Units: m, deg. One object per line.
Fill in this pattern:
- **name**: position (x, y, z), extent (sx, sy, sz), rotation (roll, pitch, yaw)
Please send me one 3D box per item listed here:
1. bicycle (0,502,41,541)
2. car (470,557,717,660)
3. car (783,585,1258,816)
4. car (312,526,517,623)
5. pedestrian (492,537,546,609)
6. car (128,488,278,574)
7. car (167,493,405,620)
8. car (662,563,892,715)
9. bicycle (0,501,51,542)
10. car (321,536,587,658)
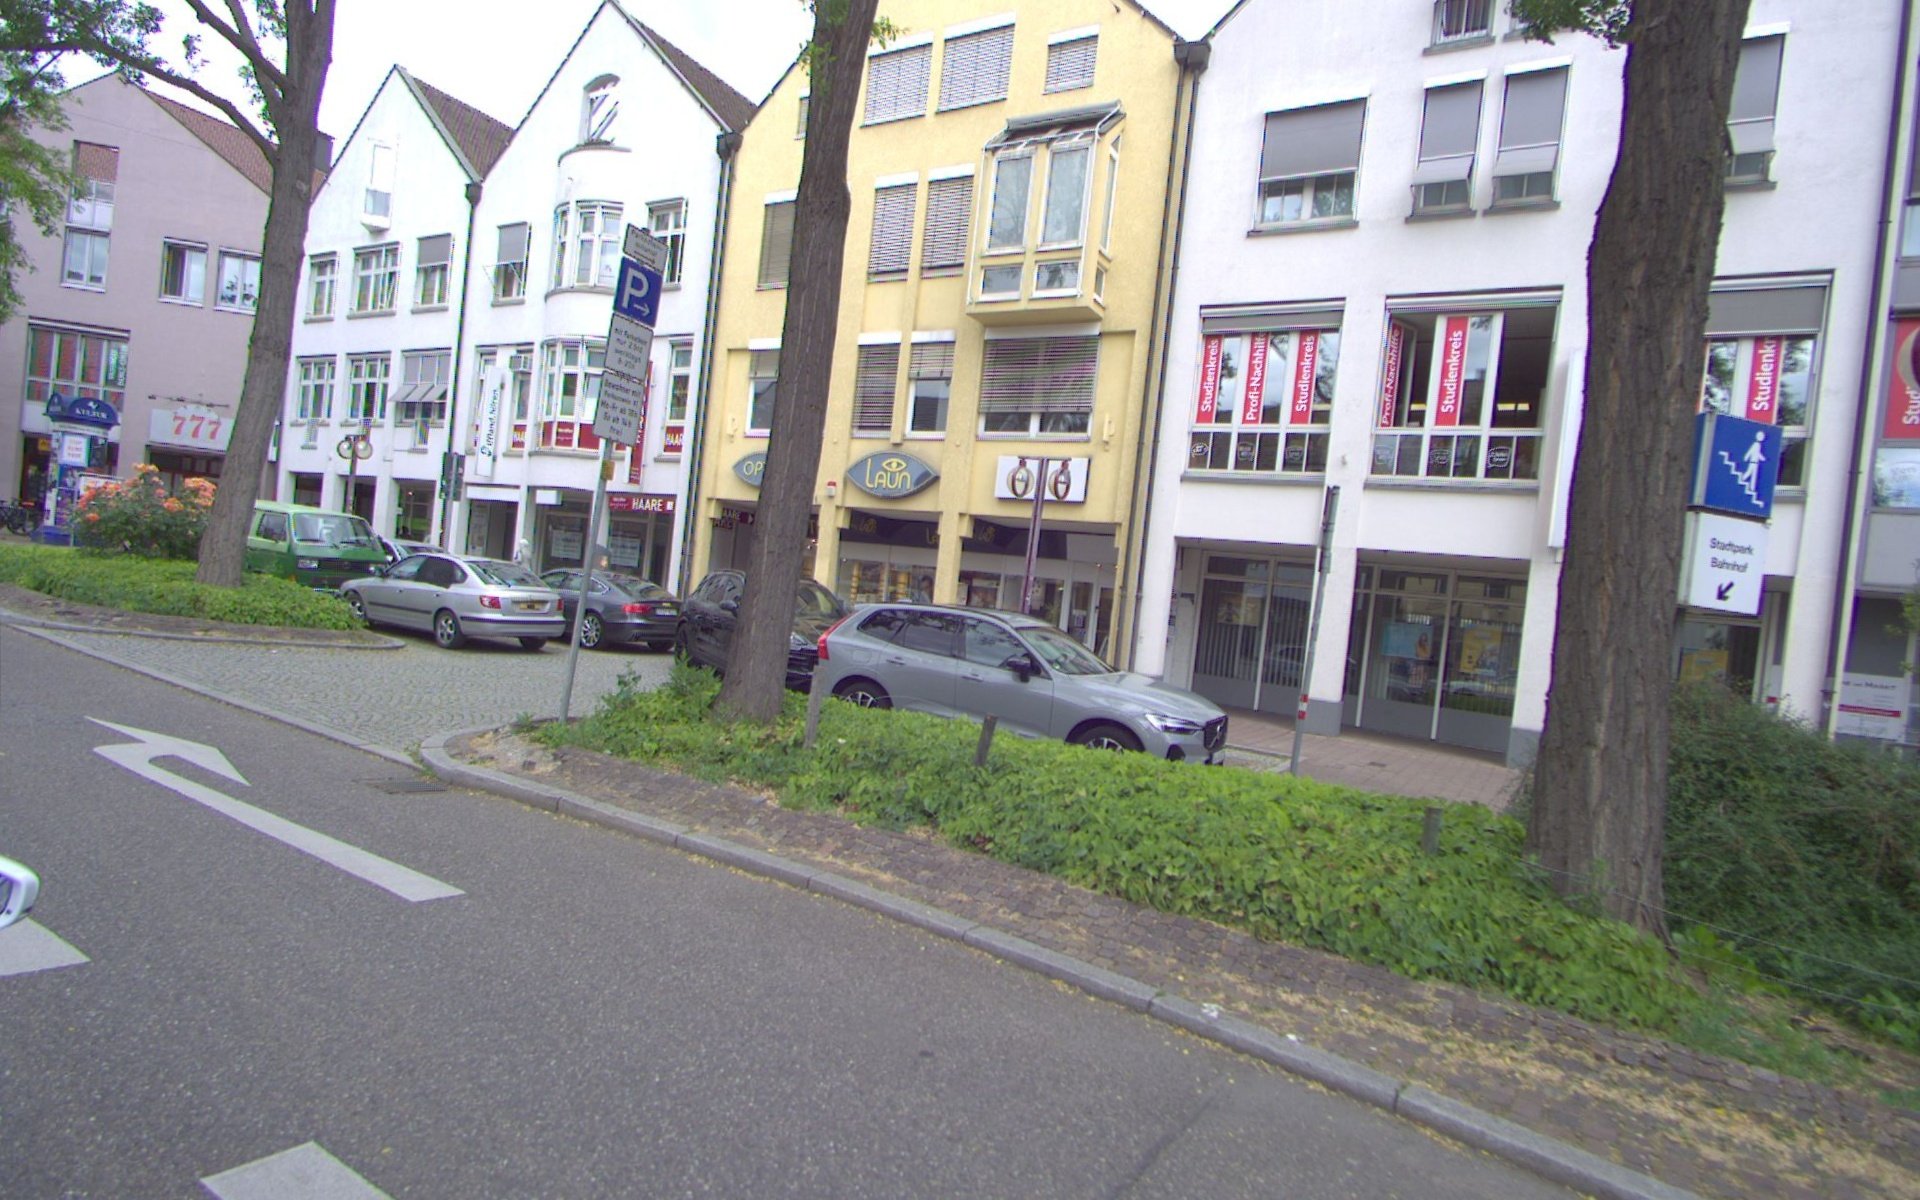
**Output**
- **bicycle**: position (-28.103, -2.359, 29.383), extent (0.440, 1.009, 1.769), rotation (7, 0, 36)
- **car**: position (-6.971, 0.146, 19.049), extent (4.344, 1.394, 1.999), rotation (7, 1, 30)
- **car**: position (0.603, 0.952, 11.054), extent (4.682, 1.615, 1.997), rotation (7, 0, 29)
- **car**: position (-11.754, -0.568, 21.611), extent (4.320, 1.562, 1.798), rotation (7, 1, 30)
- **pedestrian**: position (-10.980, -0.669, 25.054), extent (0.805, 1.681, 0.789), rotation (7, 3, 32)
- **car**: position (-20.535, -1.876, 27.281), extent (3.898, 1.855, 1.640), rotation (7, 1, 28)
- **car**: position (-12.925, -0.856, 19.220), extent (4.527, 1.900, 1.882), rotation (7, 2, 30)
- **car**: position (-2.910, 0.466, 15.003), extent (1.838, 1.692, 4.626), rotation (6, 1, -30)
- **bicycle**: position (-27.653, -2.325, 29.089), extent (0.460, 1.009, 1.901), rotation (7, 0, 36)
- **car**: position (-8.447, -0.071, 16.716), extent (4.344, 1.468, 1.765), rotation (7, 0, 30)
